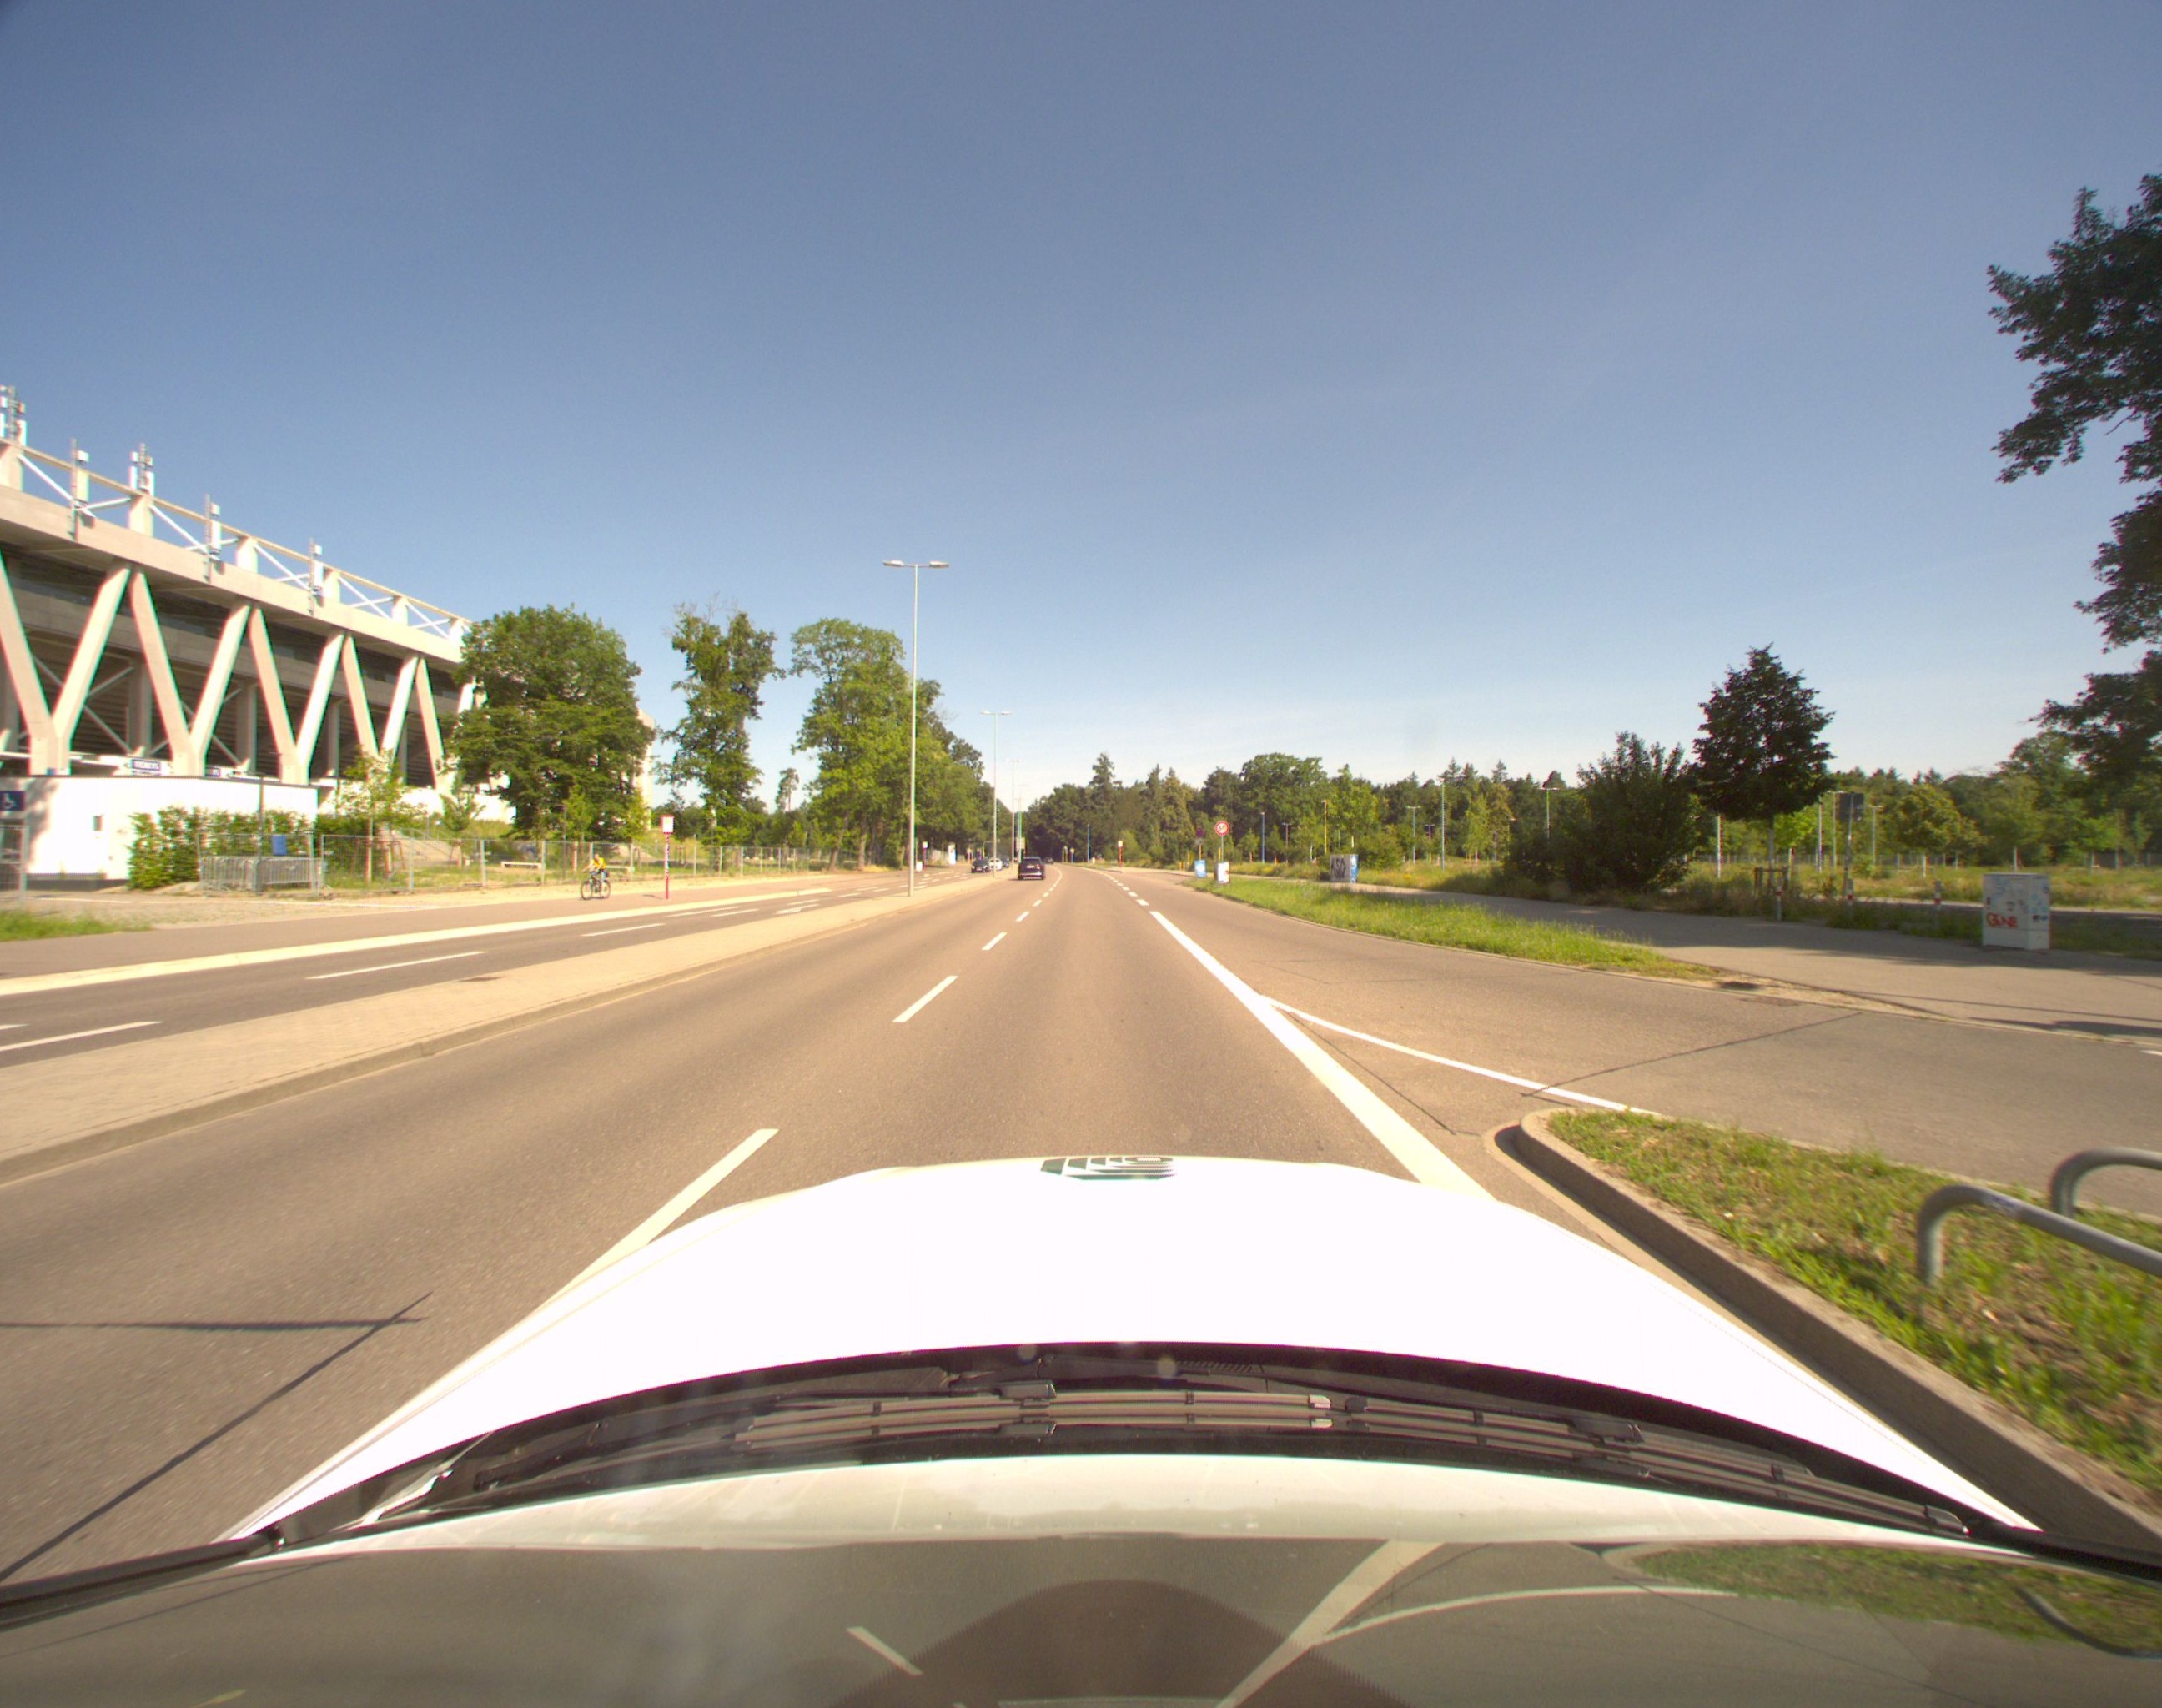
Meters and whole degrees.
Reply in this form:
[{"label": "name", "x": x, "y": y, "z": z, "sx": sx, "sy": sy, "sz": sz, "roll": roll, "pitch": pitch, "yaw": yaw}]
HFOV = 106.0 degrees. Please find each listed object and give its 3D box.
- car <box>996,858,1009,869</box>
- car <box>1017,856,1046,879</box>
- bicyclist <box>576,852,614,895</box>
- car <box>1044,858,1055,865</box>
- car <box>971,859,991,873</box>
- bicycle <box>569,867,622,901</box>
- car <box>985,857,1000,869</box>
[{"label": "car", "x": -11.794, "y": 1.436, "z": 122.521, "sx": 1.750, "sy": 1.486, "sz": 3.942, "roll": -2, "pitch": 0, "yaw": -3}, {"label": "car", "x": -3.401, "y": 0.926, "z": 56.756, "sx": 1.682, "sy": 1.544, "sz": 4.148, "roll": -1, "pitch": 0, "yaw": 0}, {"label": "bicyclist", "x": -17.227, "y": 0.684, "z": 28.881, "sx": 0.657, "sy": 1.467, "sz": 1.057, "roll": 1, "pitch": 0, "yaw": 1}, {"label": "car", "x": -6.472, "y": 1.568, "z": 167.080, "sx": 1.937, "sy": 1.420, "sz": 4.286, "roll": 0, "pitch": 0, "yaw": -4}, {"label": "car", "x": -10.576, "y": 1.236, "z": 86.413, "sx": 1.807, "sy": 1.388, "sz": 4.156, "roll": -2, "pitch": 0, "yaw": -3}, {"label": "bicycle", "x": -17.242, "y": 1.040, "z": 28.970, "sx": 0.657, "sy": 1.136, "sz": 1.879, "roll": 1, "pitch": 0, "yaw": 1}, {"label": "car", "x": -11.202, "y": 1.143, "z": 103.531, "sx": 1.619, "sy": 1.466, "sz": 3.797, "roll": -2, "pitch": 0, "yaw": -2}]
